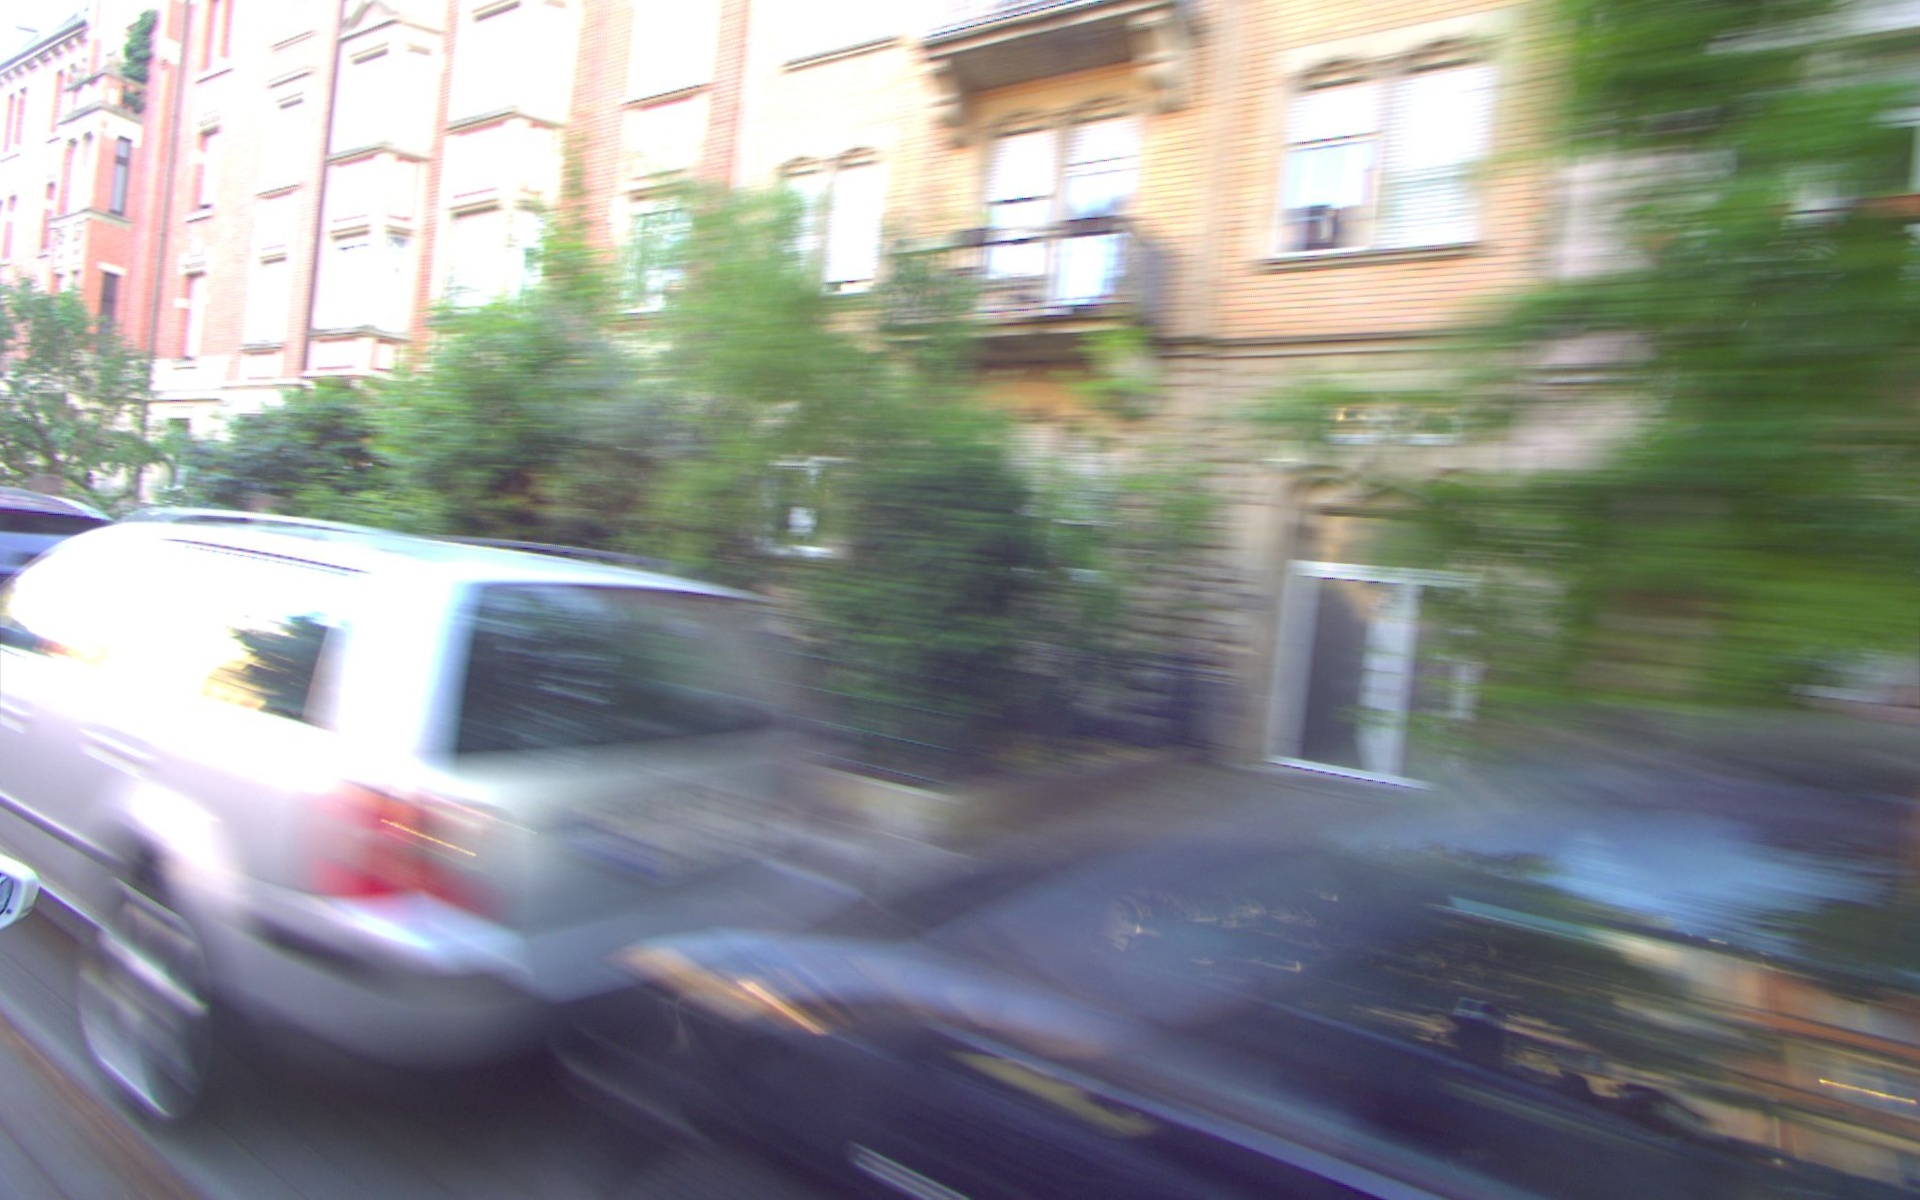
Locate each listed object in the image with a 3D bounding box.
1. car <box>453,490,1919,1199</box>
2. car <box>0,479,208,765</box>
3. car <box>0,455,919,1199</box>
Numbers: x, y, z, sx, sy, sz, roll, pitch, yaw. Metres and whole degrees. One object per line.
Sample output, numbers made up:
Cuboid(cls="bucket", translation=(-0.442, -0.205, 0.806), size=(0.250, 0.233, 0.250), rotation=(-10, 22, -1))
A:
Cuboid(cls="car", translation=(1.022, 0.798, 1.534), size=(3.544, 1.543, 1.588), rotation=(6, -2, 34))
Cuboid(cls="car", translation=(-6.996, -0.053, 6.733), size=(4.256, 1.569, 1.722), rotation=(6, -1, 34))
Cuboid(cls="car", translation=(-2.671, 0.421, 3.944), size=(4.764, 1.600, 1.759), rotation=(6, -2, 34))
